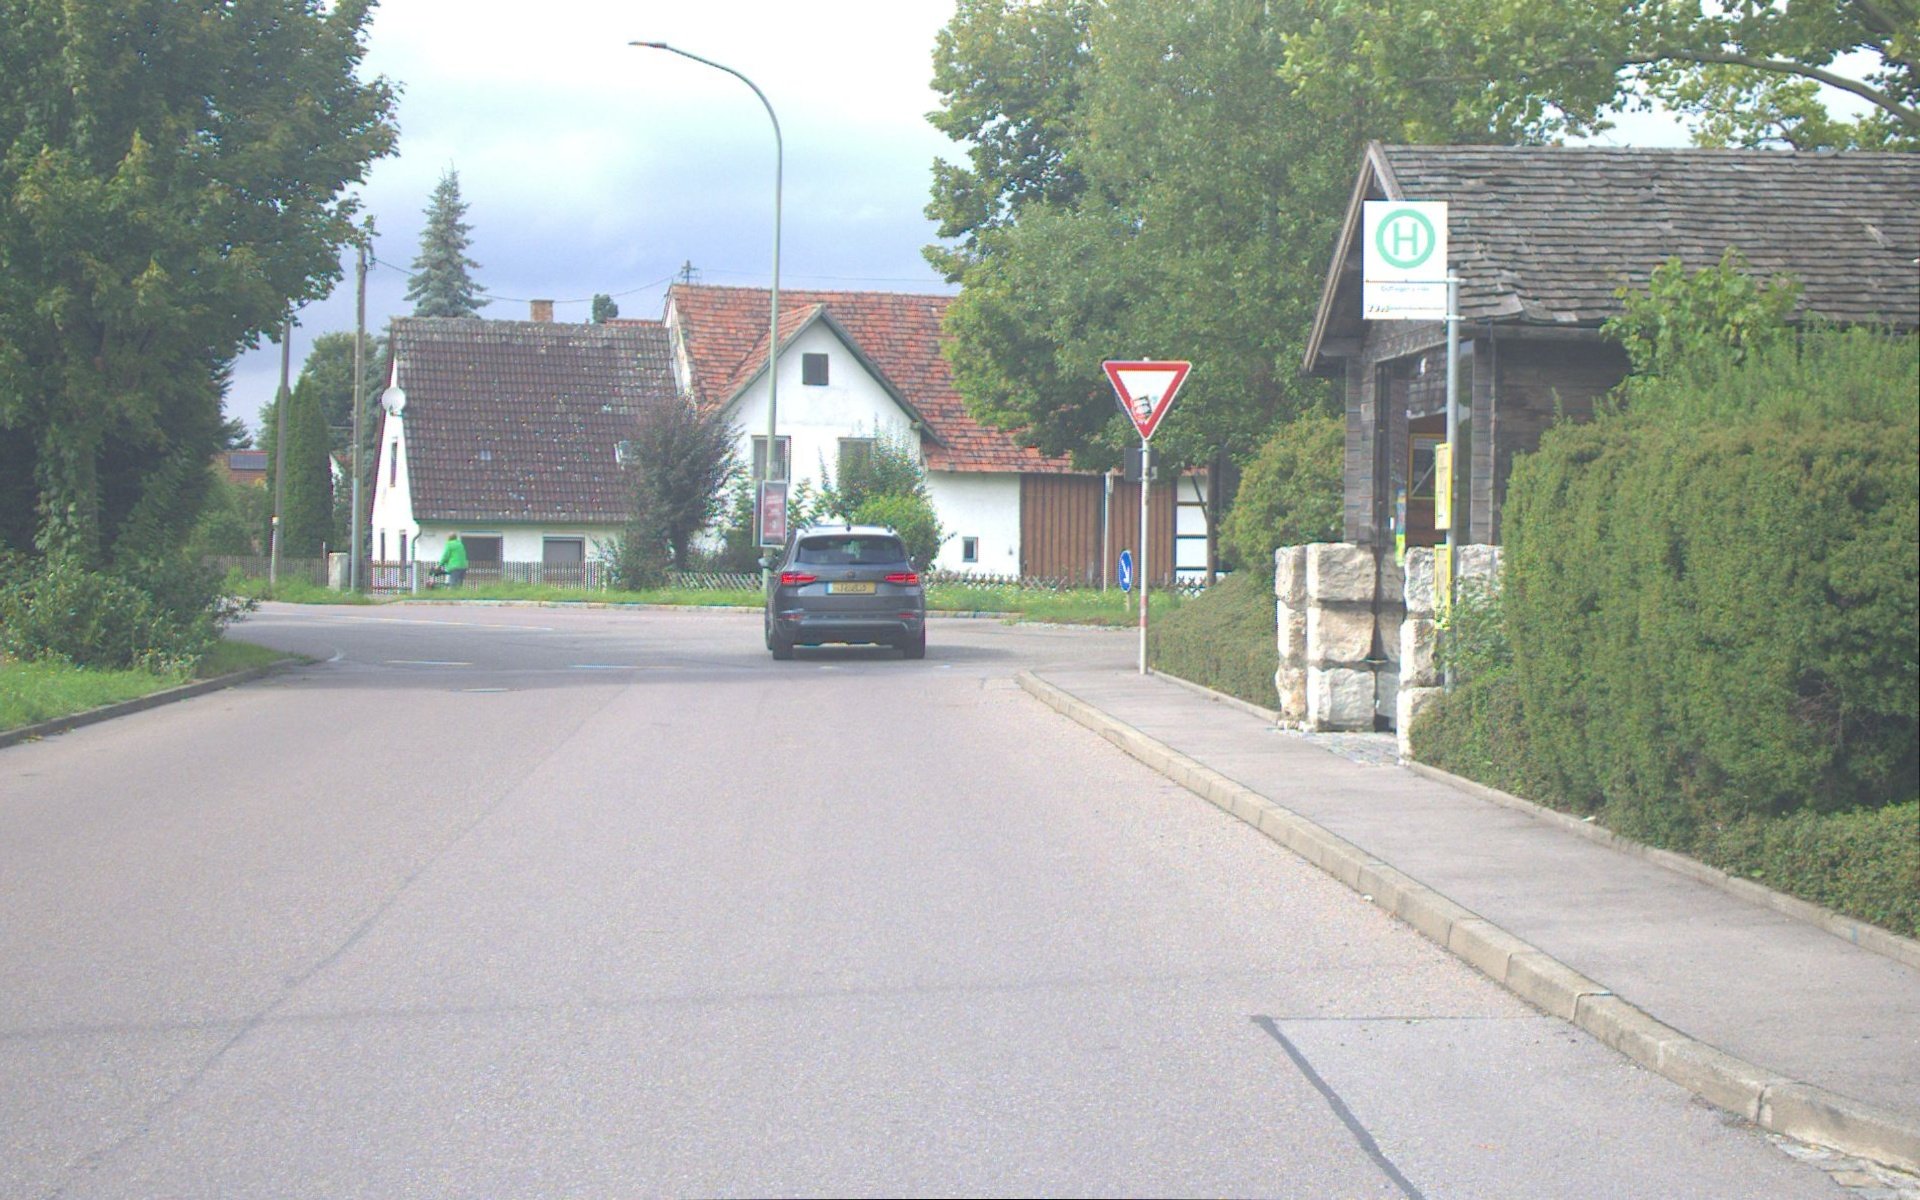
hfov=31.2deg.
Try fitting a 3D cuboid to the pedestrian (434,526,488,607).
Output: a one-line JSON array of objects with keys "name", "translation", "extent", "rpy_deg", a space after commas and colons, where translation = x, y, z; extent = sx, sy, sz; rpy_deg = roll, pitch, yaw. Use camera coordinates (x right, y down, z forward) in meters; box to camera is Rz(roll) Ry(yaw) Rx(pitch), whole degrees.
[{"name": "pedestrian", "translation": [-10.656, -0.710, 73.390], "extent": [0.788, 1.659, 0.712], "rpy_deg": [5, -2, -35]}]

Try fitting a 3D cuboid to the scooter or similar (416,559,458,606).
[{"name": "scooter or similar", "translation": [-11.239, -0.376, 73.877], "extent": [0.630, 0.945, 0.622], "rpy_deg": [5, -2, -35]}]

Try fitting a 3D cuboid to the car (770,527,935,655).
[{"name": "car", "translation": [-1.332, -0.140, 41.263], "extent": [1.798, 1.457, 3.663], "rpy_deg": [0, 1, -4]}]
